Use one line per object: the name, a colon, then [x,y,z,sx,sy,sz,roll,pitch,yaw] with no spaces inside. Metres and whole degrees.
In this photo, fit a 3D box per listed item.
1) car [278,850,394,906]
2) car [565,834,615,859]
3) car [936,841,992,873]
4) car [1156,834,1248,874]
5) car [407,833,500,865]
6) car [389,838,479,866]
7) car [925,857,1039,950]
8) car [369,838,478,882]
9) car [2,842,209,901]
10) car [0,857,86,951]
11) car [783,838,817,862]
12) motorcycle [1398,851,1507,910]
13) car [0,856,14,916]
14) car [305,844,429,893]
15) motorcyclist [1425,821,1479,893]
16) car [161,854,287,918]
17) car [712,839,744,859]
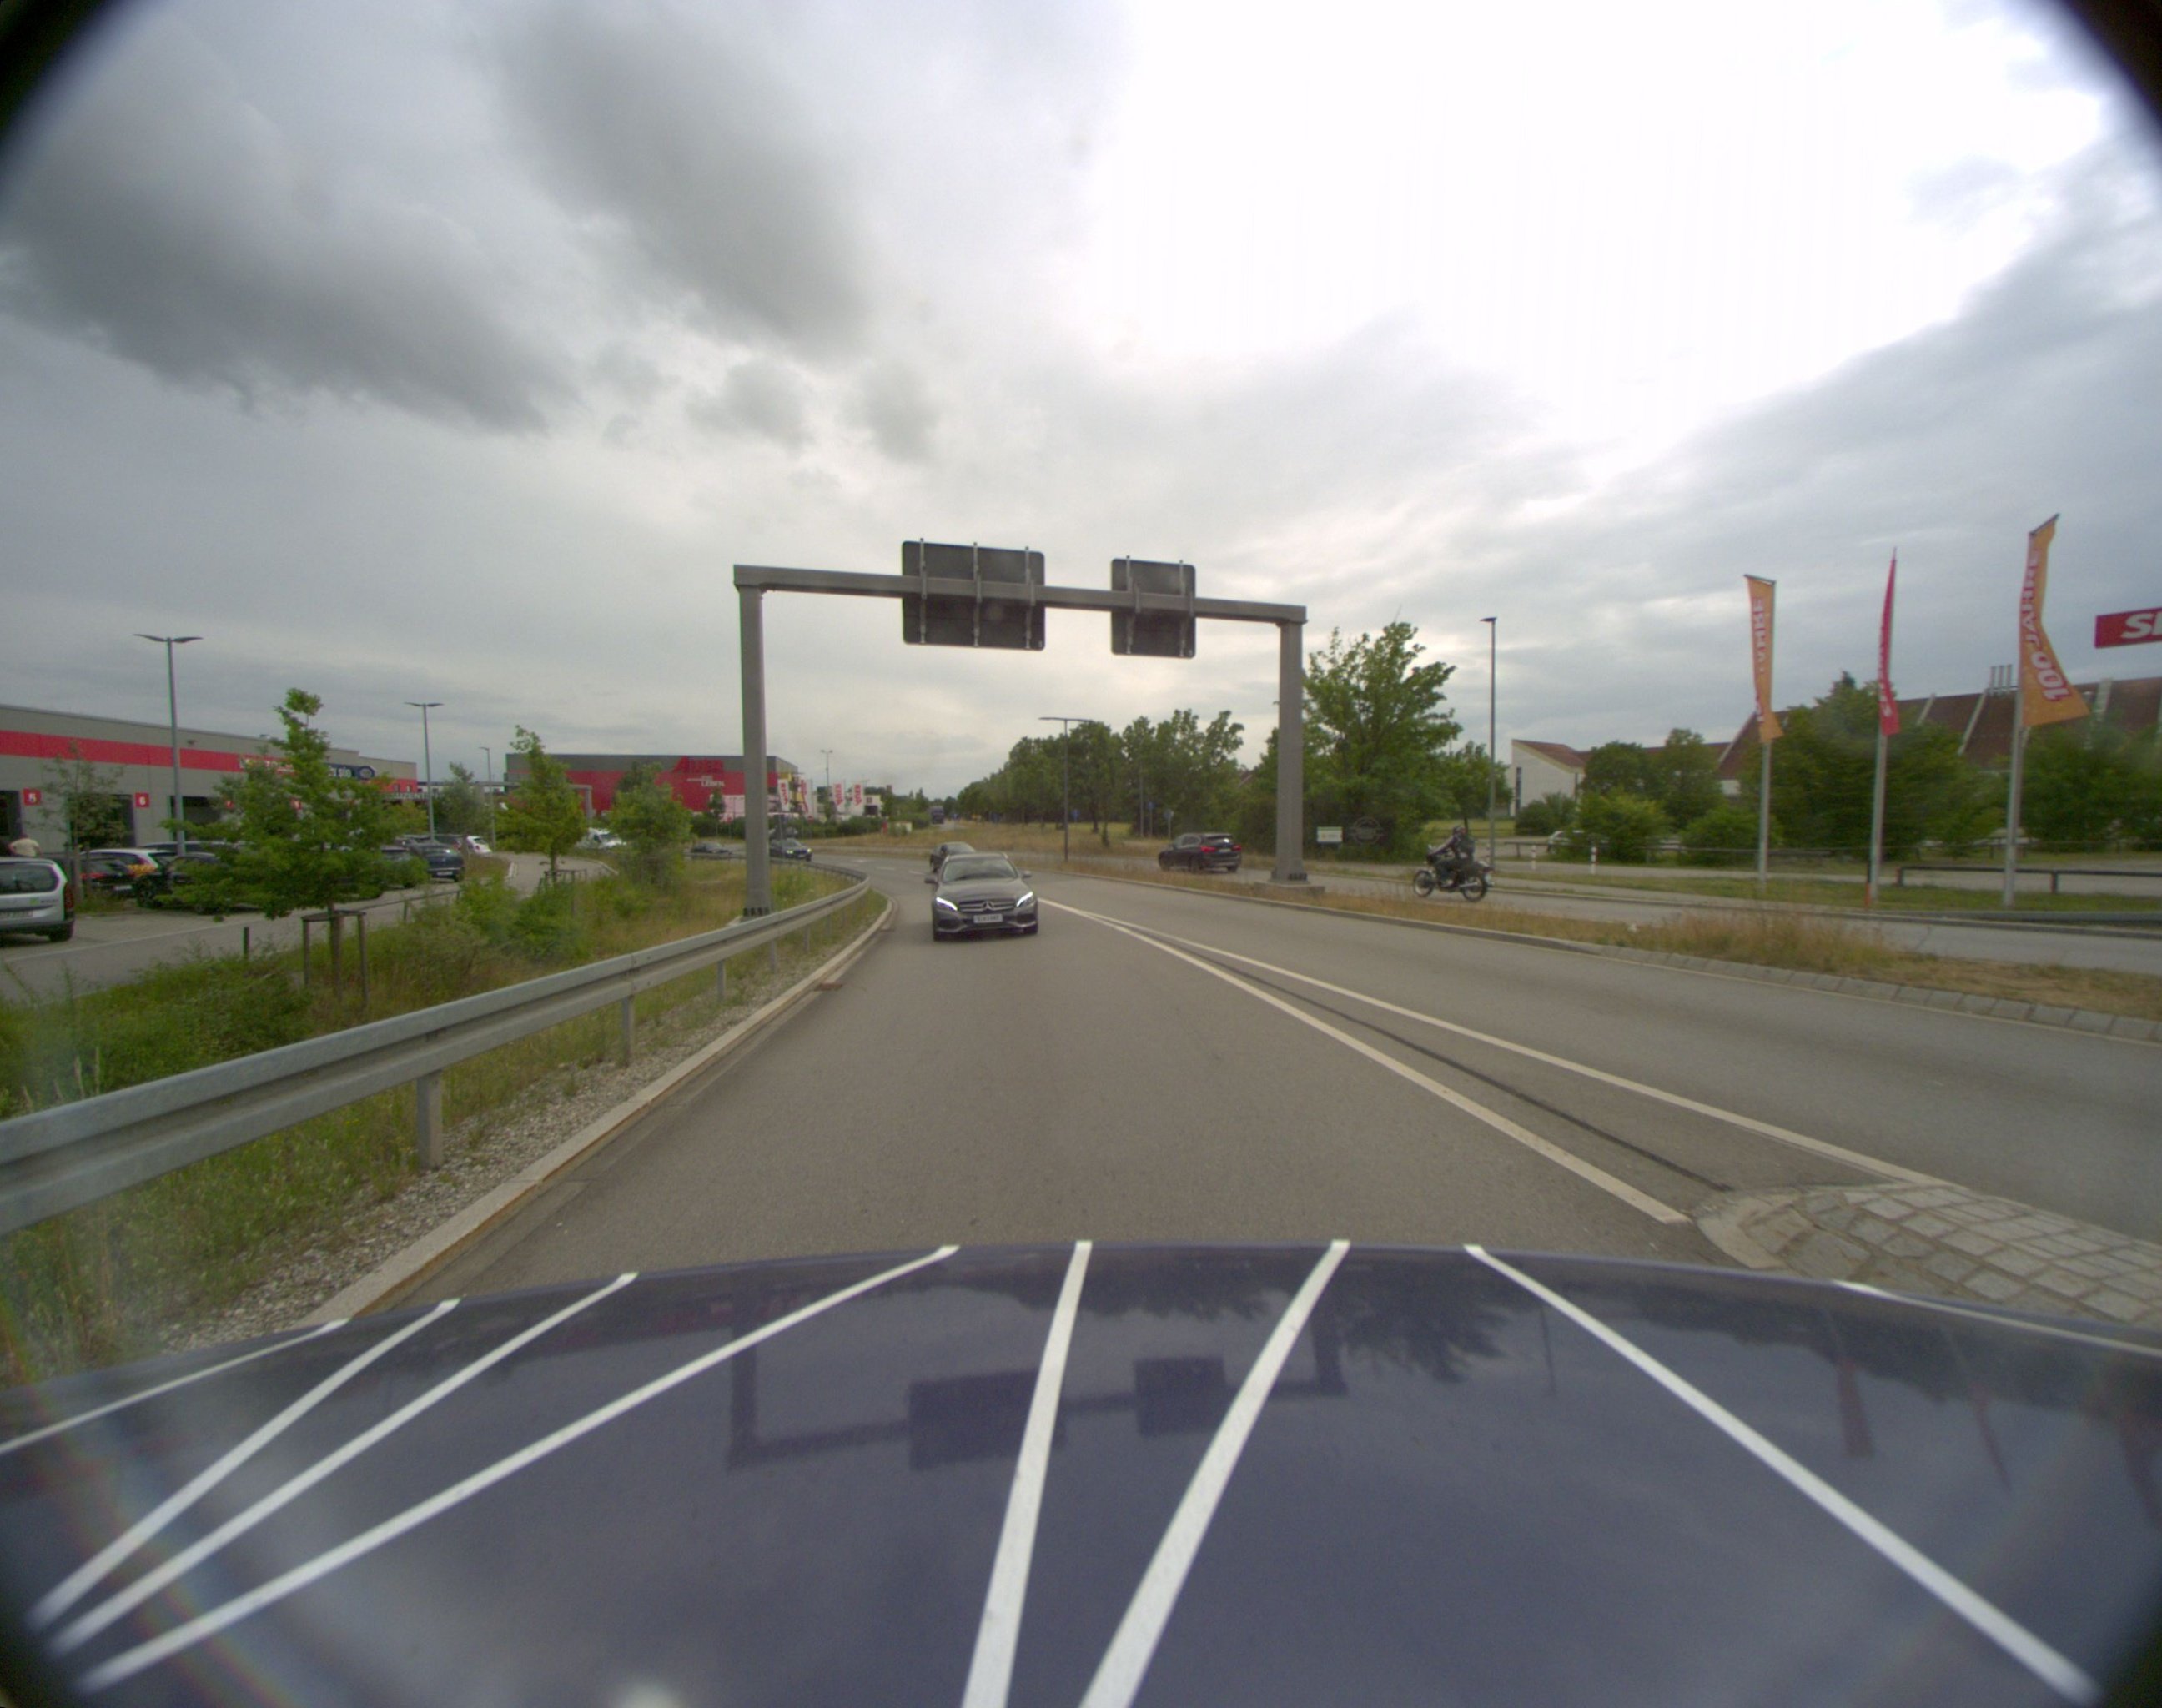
car: [-24.201,0.755,24.648,4.066,1.613,1.740,-1,1,32]
car: [-32.795,-0.508,50.741,3.688,1.537,1.593,0,5,38]
car: [-5.903,0.124,37.975,1.767,1.311,3.949,-4,4,-23]
car: [4.751,-0.066,30.448,1.894,1.458,4.273,-2,2,-17]
car: [-36.091,-0.306,43.822,3.702,1.537,1.587,-4,4,-18]
car: [-35.169,-0.133,41.393,3.325,1.316,1.478,-2,3,-18]
car: [-1.905,0.806,14.406,1.765,1.412,4.088,-3,0,-8]
car: [-26.977,0.216,31.170,4.067,1.613,1.739,2,2,23]
car: [-31.011,0.520,24.303,3.702,1.537,1.587,-4,4,-18]
car: [-23.289,1.018,16.126,4.065,1.702,1.909,2,4,28]
car: [-20.220,-0.304,54.793,1.862,1.404,4.548,-3,4,-15]
motorcycle: [8.266,0.544,17.022,0.704,1.222,2.244,-2,1,-26]
car: [-30.909,1.006,19.523,3.702,1.630,1.587,-4,4,-18]
car: [-26.559,0.478,28.266,4.067,1.613,1.832,2,2,23]
motorcyclist: [8.272,0.053,16.967,0.675,1.567,0.845,-2,2,-26]
car: [-24.365,0.867,21.580,4.066,1.613,1.653,-1,1,32]
car: [-29.008,-0.414,62.355,1.863,1.404,3.928,-4,4,-31]
